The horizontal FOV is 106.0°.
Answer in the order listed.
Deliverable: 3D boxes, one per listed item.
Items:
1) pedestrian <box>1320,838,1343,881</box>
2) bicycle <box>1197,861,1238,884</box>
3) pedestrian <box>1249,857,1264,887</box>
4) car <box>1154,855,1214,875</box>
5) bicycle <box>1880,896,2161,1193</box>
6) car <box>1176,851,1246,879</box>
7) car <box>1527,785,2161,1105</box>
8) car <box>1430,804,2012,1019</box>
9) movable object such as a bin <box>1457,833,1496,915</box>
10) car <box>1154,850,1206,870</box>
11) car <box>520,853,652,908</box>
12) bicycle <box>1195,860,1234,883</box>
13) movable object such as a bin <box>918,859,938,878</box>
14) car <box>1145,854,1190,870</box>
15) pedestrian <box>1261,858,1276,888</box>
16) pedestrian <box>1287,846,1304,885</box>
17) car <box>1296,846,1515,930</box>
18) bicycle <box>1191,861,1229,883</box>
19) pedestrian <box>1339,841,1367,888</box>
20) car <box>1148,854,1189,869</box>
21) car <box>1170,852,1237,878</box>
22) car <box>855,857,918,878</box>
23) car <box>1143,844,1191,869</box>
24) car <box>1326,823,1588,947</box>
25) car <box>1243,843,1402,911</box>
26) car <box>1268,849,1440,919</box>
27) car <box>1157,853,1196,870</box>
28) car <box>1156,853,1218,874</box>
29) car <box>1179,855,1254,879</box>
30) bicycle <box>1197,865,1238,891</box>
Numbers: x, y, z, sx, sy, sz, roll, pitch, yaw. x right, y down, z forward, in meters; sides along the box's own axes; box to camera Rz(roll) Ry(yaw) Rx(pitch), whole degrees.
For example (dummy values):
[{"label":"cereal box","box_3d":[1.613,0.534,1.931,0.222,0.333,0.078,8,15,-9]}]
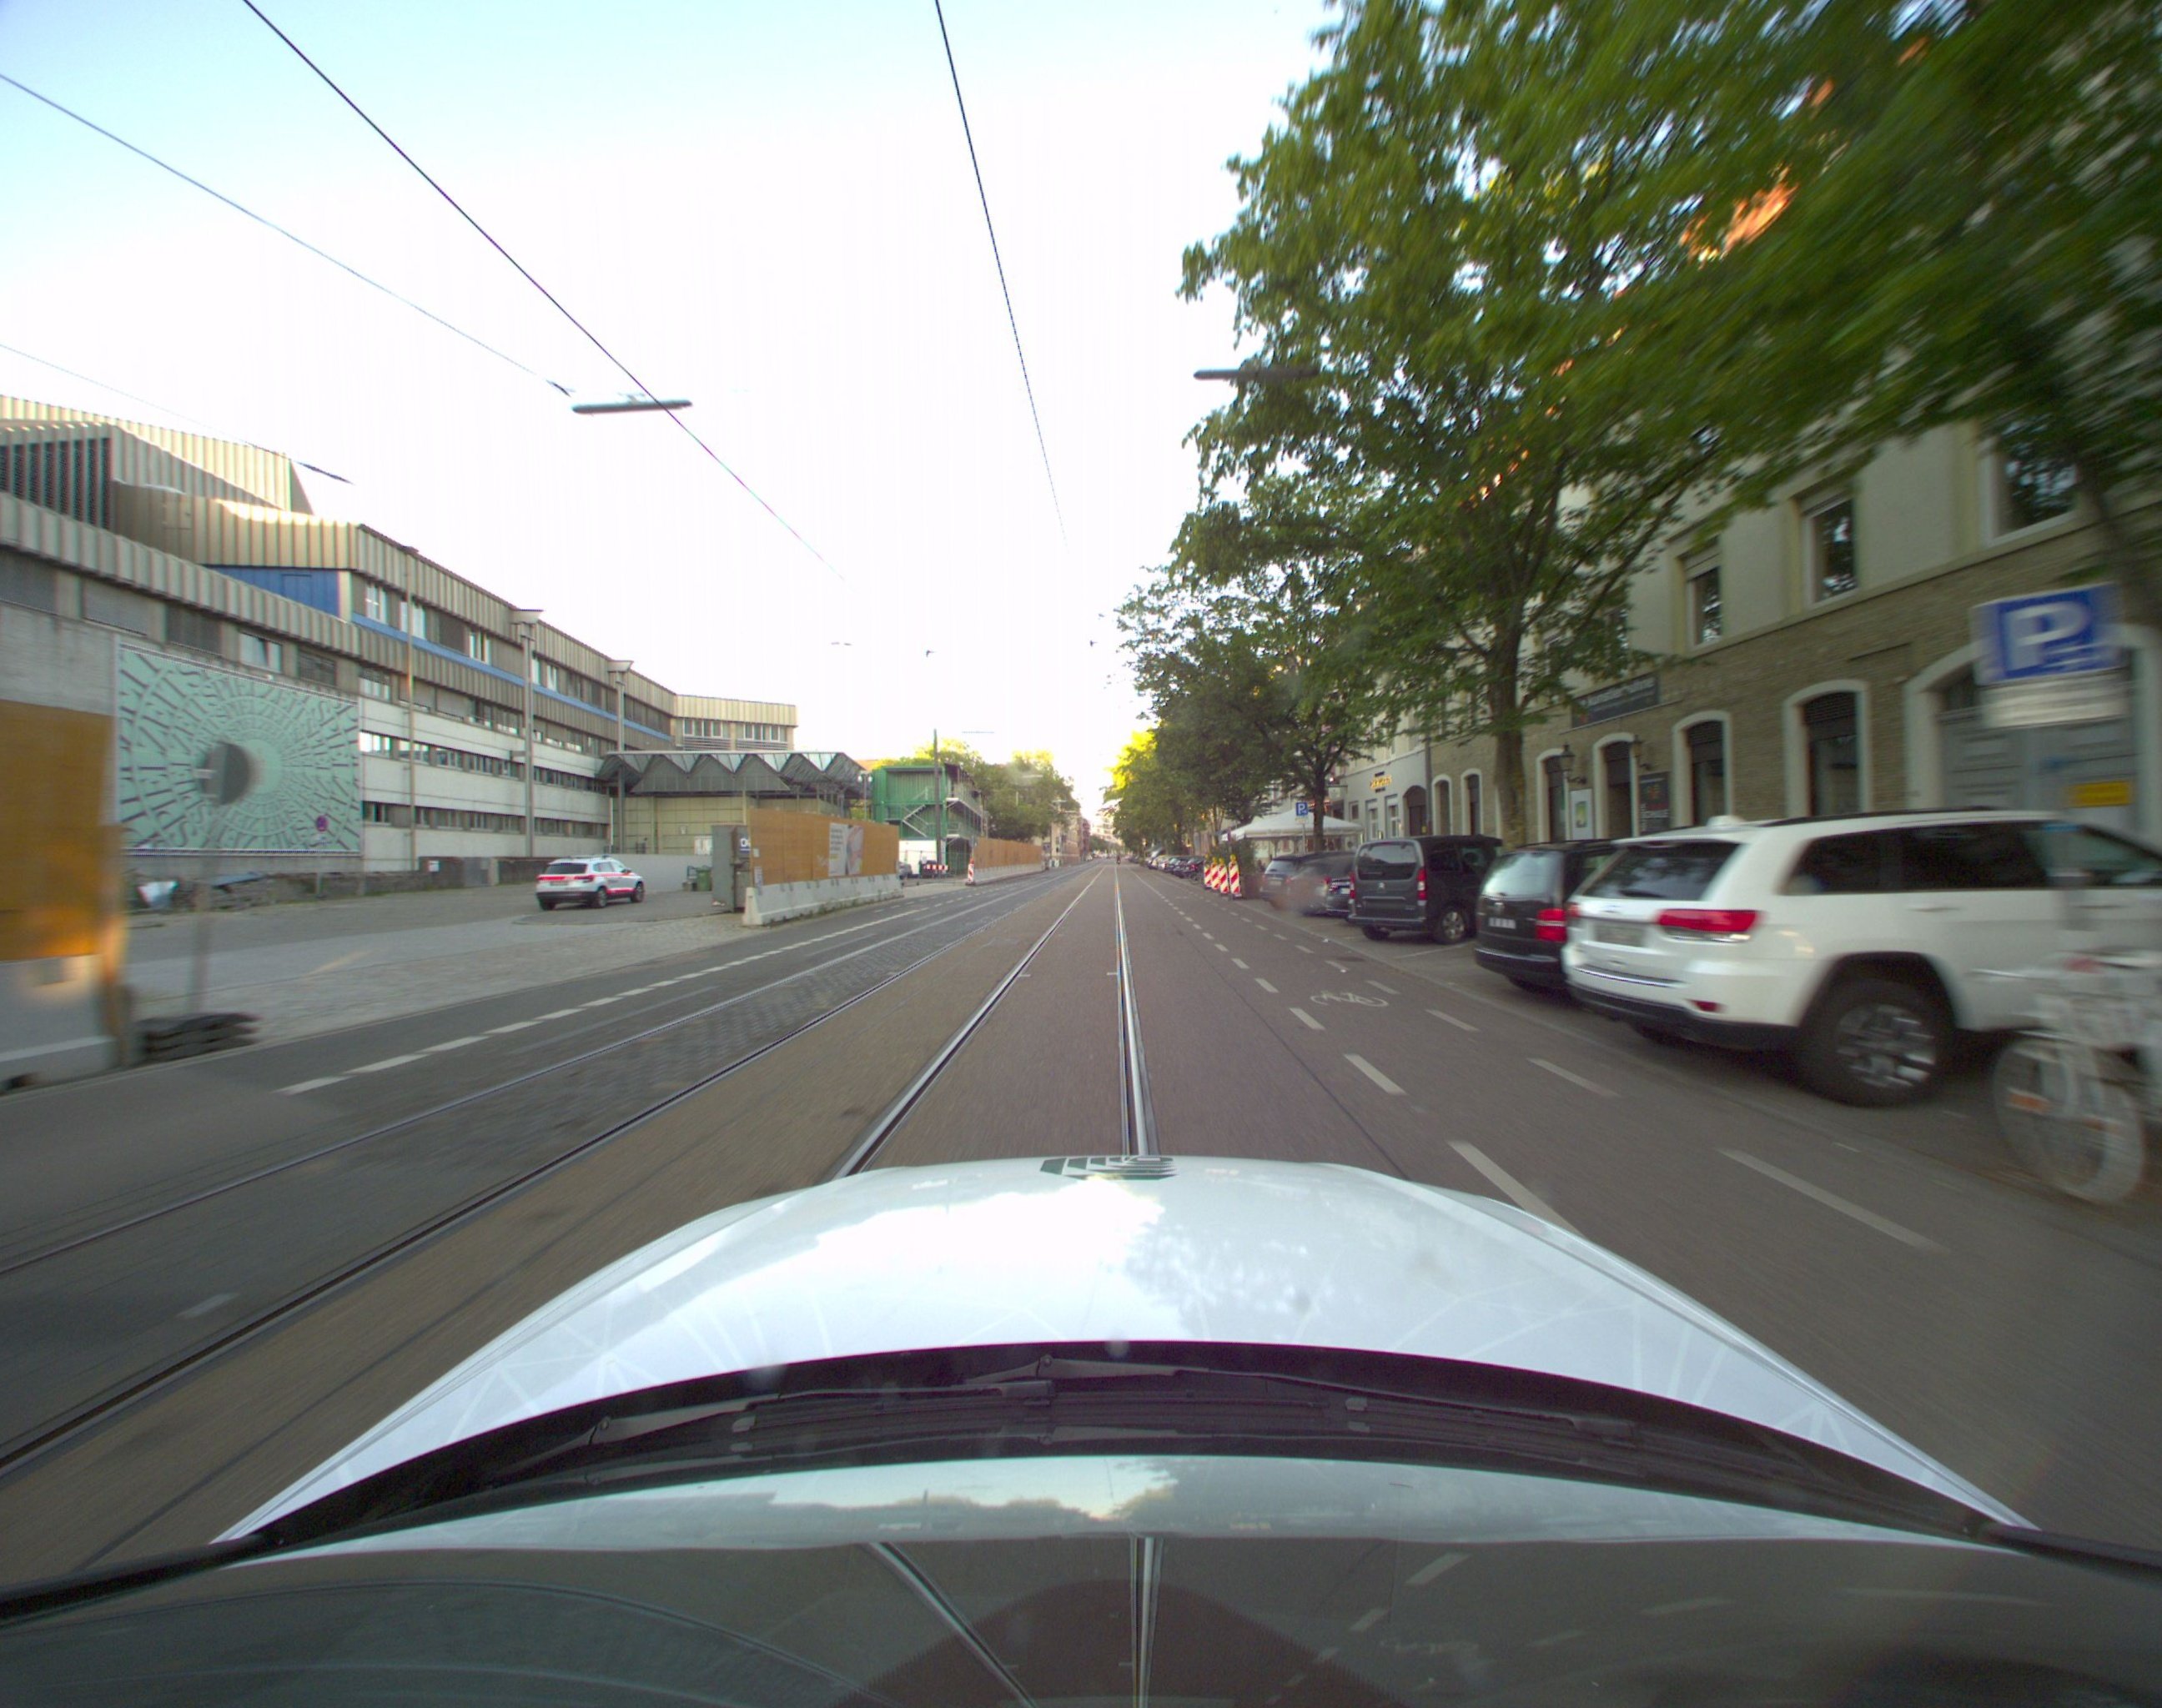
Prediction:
[{"label":"pedestrian","box_3d":[10.306,0.233,33.480,0.551,1.763,0.850,0,-1,-10]},{"label":"bicycle","box_3d":[6.873,0.919,41.093,1.880,1.031,0.608,-4,0,0]},{"label":"pedestrian","box_3d":[7.687,0.798,35.737,0.501,1.292,0.599,-1,0,-3]},{"label":"car","box_3d":[8.234,0.858,64.901,4.267,1.392,2.001,-3,-1,-21]},{"label":"bicycle","box_3d":[4.892,0.841,3.936,1.837,1.102,0.496,-4,0,-12]},{"label":"car","box_3d":[8.441,0.700,52.973,3.955,1.470,1.991,-4,0,-14]},{"label":"car","box_3d":[6.031,0.464,5.711,4.632,1.688,2.008,-4,0,1]},{"label":"car","box_3d":[6.459,0.519,8.608,4.639,1.688,2.005,-4,0,-4]},{"label":"movable object such as a bin","box_3d":[9.882,0.494,20.382,0.611,2.014,0.695,-1,-1,1]},{"label":"car","box_3d":[8.881,0.570,73.147,4.249,1.549,2.013,-3,-1,-9]},{"label":"car","box_3d":[-16.132,0.809,26.826,1.990,1.664,4.272,-1,0,-5]},{"label":"bicycle","box_3d":[6.951,0.919,42.466,1.880,1.067,0.674,-4,0,0]},{"label":"movable object such as a bin","box_3d":[-11.188,1.061,59.438,1.302,1.369,0.784,-1,0,-1]},{"label":"car","box_3d":[8.823,0.837,83.071,4.139,1.425,1.906,-2,-1,-23]},{"label":"pedestrian","box_3d":[8.234,0.821,35.845,0.501,1.292,0.599,-1,0,-2]},{"label":"pedestrian","box_3d":[9.774,0.512,37.078,0.548,1.763,0.894,-1,-1,2]},{"label":"car","box_3d":[6.937,0.667,17.399,4.330,1.389,1.792,-4,0,-24]},{"label":"bicycle","box_3d":[6.929,0.974,43.657,1.897,1.031,0.533,-4,0,0]},{"label":"pedestrian","box_3d":[10.456,0.407,31.300,0.705,1.763,0.709,0,-1,-25]},{"label":"car","box_3d":[9.705,0.863,90.399,3.966,1.486,1.906,-2,-1,-22]},{"label":"car","box_3d":[8.339,0.731,55.480,4.123,1.470,1.814,-4,0,-15]},{"label":"car","box_3d":[-13.796,0.935,57.769,3.964,1.402,1.743,1,0,16]},{"label":"car","box_3d":[10.044,0.315,95.154,5.104,2.642,2.011,-3,-1,-15]},{"label":"car","box_3d":[6.682,0.466,14.469,4.169,1.806,1.990,-3,0,-26]},{"label":"car","box_3d":[6.641,0.601,22.414,3.979,1.553,1.693,-3,0,-24]},{"label":"car","box_3d":[6.688,0.690,19.933,3.789,1.408,1.693,-3,0,-23]},{"label":"car","box_3d":[10.139,0.771,86.613,3.934,1.620,1.922,-3,-1,2]},{"label":"car","box_3d":[7.888,0.682,60.609,4.133,1.470,2.000,-1,0,-22]},{"label":"car","box_3d":[8.336,0.789,50.129,4.171,1.426,1.813,-1,0,-17]},{"label":"bicycle","box_3d":[6.152,1.085,36.780,1.673,1.031,0.557,-4,0,0]}]
